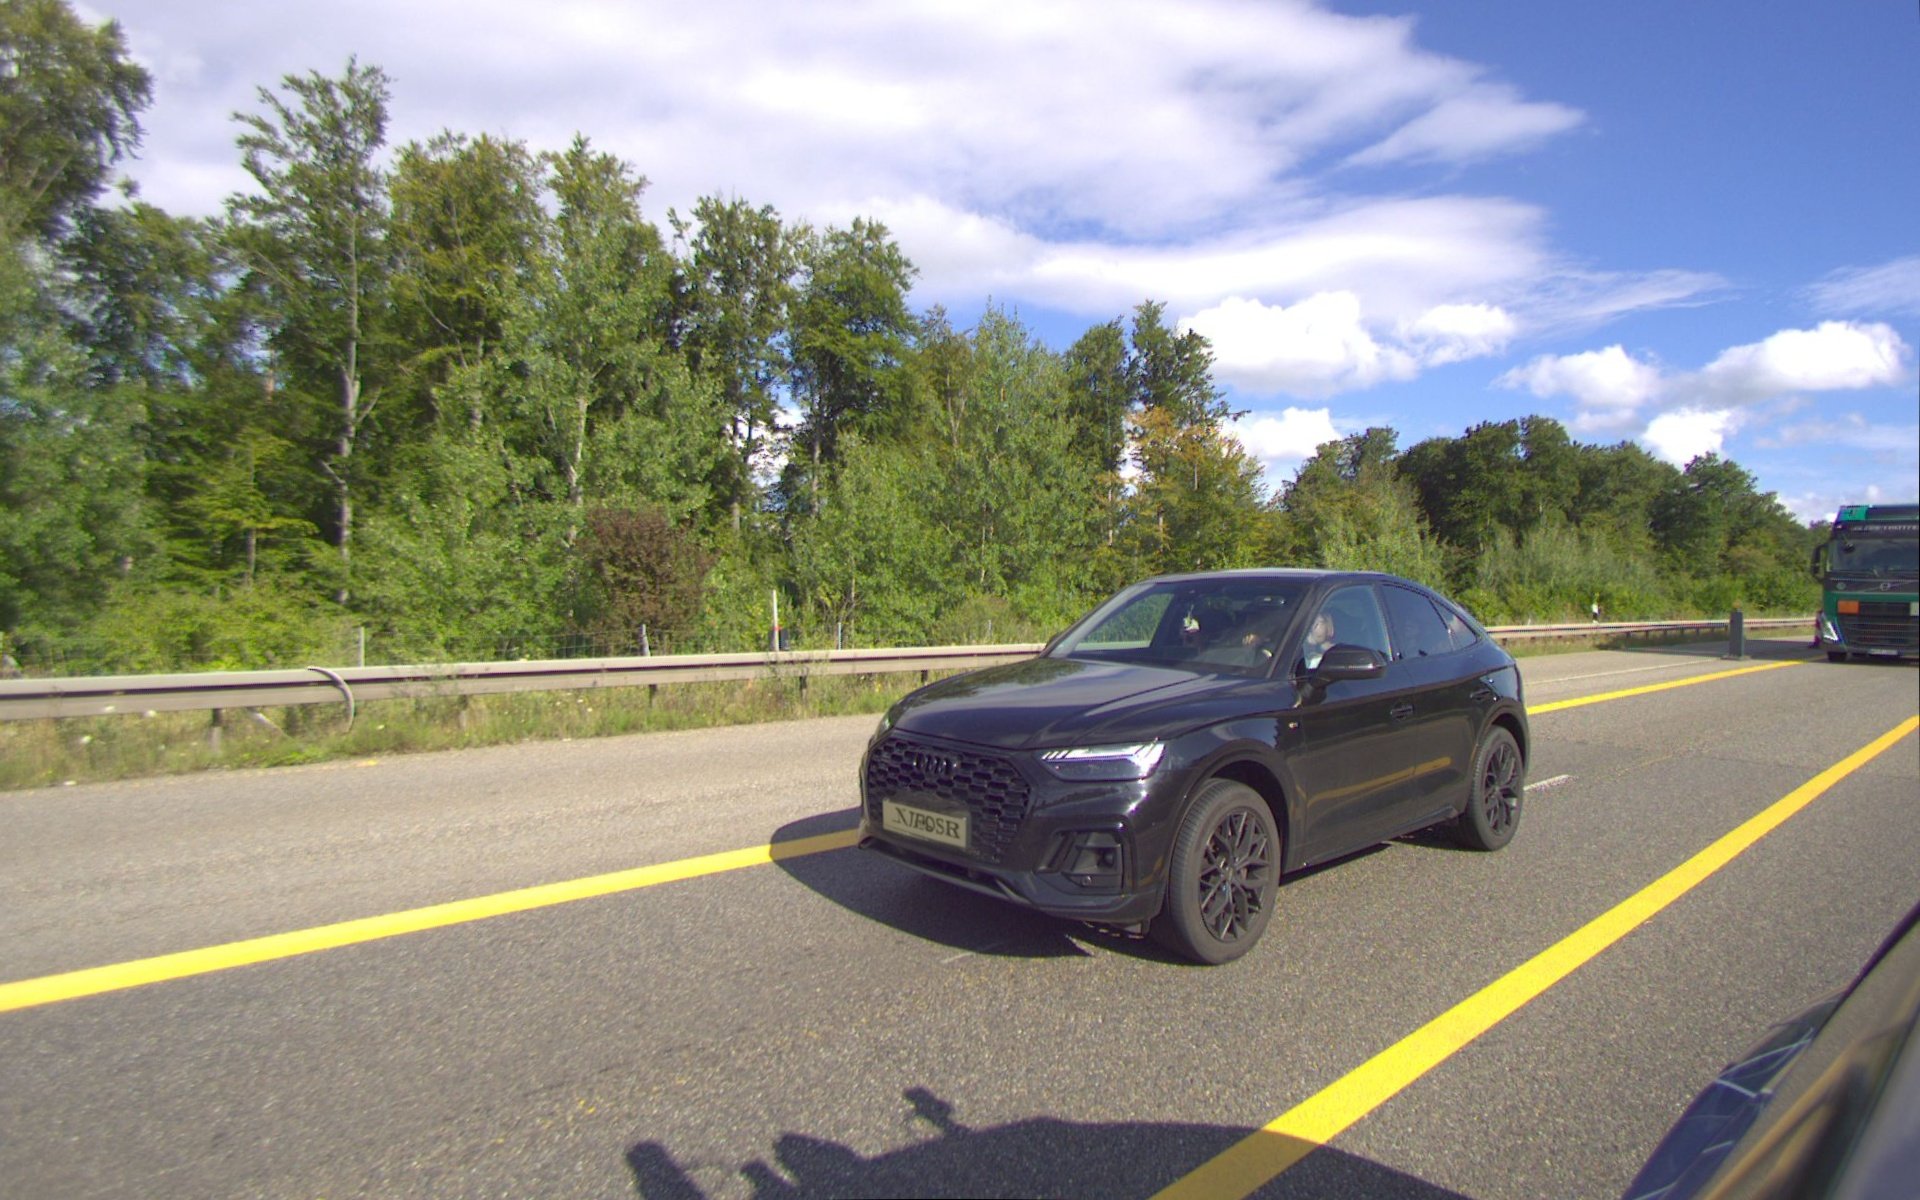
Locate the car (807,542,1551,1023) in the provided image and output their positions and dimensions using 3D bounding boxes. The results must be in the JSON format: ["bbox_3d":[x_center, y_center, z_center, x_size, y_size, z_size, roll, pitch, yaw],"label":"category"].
[{"bbox_3d":[1.442,0.596,5.483,4.219,1.622,1.781,0,0,-41],"label":"car"}]

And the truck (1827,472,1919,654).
[{"bbox_3d":[24.256,-0.869,25.537,6.734,4.151,2.527,0,0,-40],"label":"truck"}]

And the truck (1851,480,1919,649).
[{"bbox_3d":[29.040,-0.824,29.516,13.956,4.196,2.469,1,0,-40],"label":"truck"}]
